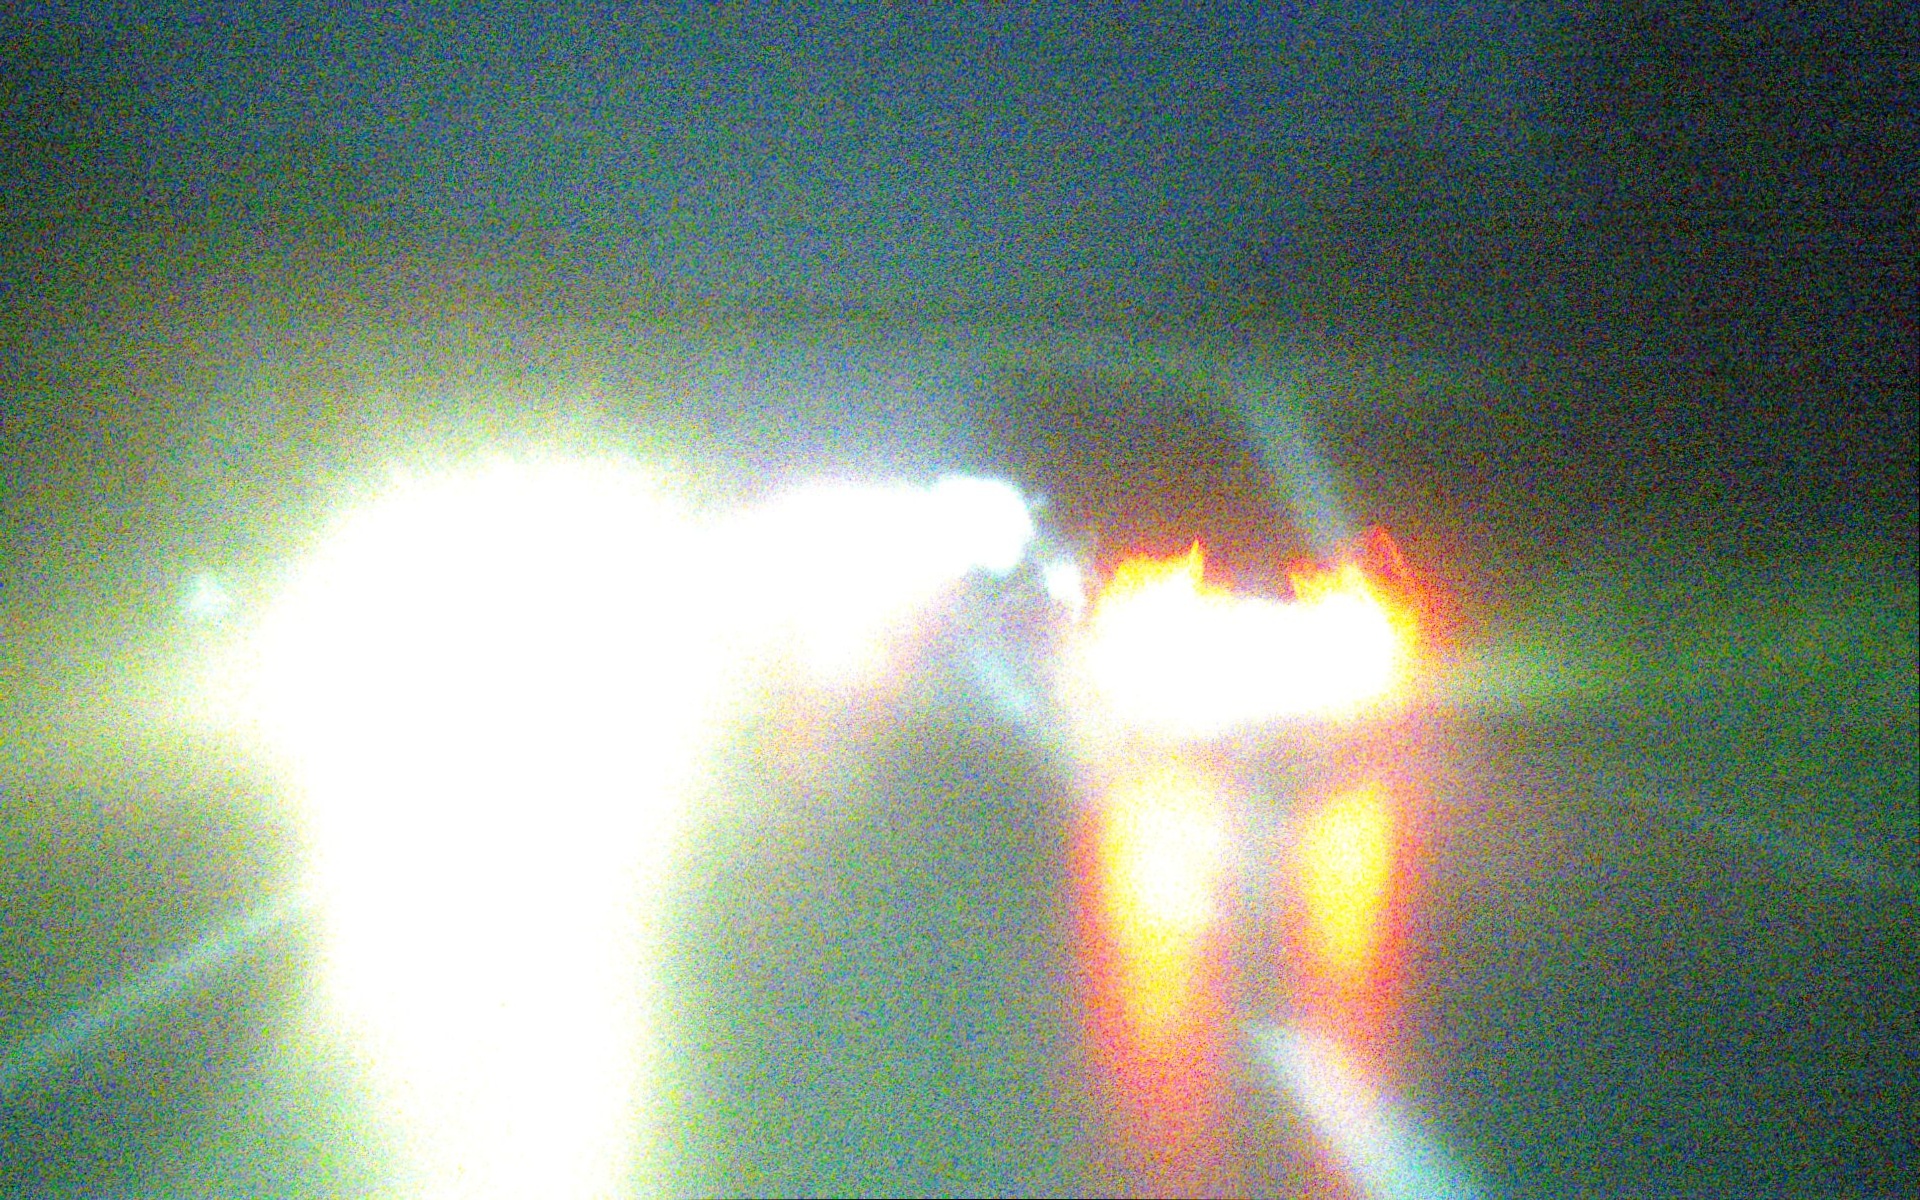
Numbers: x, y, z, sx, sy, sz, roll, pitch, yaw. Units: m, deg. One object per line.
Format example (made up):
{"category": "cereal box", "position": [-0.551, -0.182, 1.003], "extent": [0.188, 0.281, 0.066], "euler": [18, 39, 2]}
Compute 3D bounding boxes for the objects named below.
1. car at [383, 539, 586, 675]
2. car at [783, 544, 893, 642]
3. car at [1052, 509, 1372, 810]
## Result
{"category": "car", "position": [-5.794, 0.047, 42.380], "extent": [1.993, 1.570, 4.662], "euler": [0, 1, -2]}
{"category": "car", "position": [-2.082, -0.141, 58.699], "extent": [1.808, 1.616, 4.000], "euler": [0, 1, -2]}
{"category": "car", "position": [1.742, 0.366, 25.060], "extent": [2.093, 2.007, 4.000], "euler": [0, 1, 1]}
